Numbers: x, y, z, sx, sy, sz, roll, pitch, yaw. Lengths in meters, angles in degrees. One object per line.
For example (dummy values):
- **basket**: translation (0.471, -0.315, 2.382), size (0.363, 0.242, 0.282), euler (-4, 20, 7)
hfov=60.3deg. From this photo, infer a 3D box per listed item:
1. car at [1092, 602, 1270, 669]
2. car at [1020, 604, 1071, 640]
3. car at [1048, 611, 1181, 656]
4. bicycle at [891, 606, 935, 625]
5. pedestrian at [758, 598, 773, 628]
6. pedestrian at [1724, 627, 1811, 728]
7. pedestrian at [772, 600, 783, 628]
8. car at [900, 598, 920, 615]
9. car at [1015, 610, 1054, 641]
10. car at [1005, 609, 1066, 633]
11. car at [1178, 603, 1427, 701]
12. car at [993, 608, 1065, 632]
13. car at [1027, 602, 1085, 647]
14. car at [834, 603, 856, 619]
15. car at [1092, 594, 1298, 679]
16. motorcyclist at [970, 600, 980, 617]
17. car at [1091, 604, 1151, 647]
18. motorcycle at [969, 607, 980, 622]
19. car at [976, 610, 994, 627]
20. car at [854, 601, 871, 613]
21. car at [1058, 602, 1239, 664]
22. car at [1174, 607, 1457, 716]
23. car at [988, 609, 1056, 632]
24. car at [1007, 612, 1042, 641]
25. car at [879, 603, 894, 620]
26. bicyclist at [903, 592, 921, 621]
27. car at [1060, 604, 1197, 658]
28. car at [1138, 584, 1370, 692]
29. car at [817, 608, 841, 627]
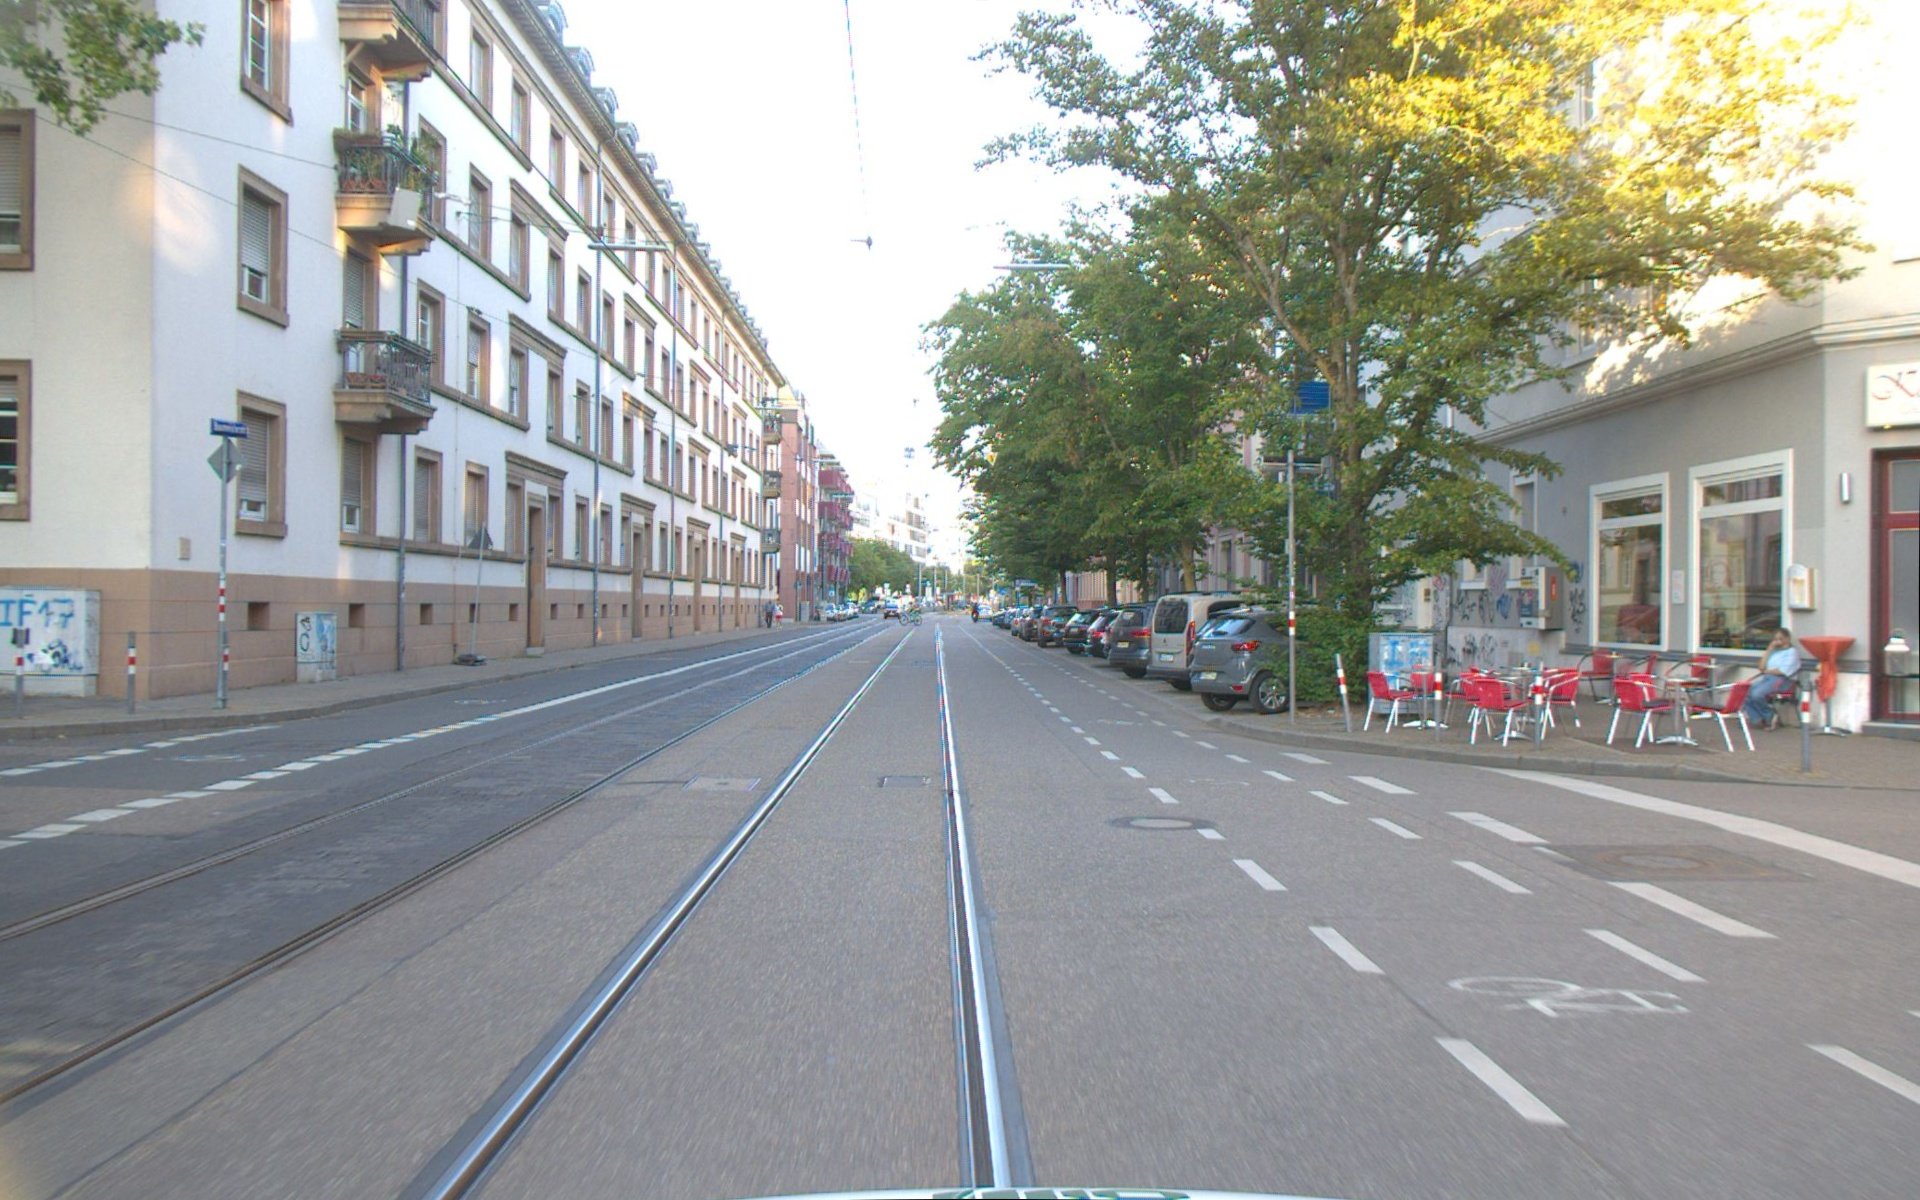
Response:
- **car**: translation (5.342, 0.829, 40.016), size (3.926, 1.489, 1.711), euler (-1, 0, -19)
- **car**: translation (3.728, 0.957, 73.147), size (1.953, 1.515, 5.035), euler (0, 0, 0)
- **car**: translation (5.103, 1.095, 54.519), size (4.198, 1.412, 1.607), euler (1, 0, -27)
- **bicycle**: translation (-3.387, 1.122, 119.529), size (3.112, 1.378, 0.955), euler (0, -1, -10)
- **pedestrian**: translation (-11.214, 0.748, 95.404), size (0.779, 1.731, 0.981), euler (0, -1, -3)
- **pedestrian**: translation (9.662, 0.919, 19.795), size (0.641, 1.175, 0.686), euler (1, -1, -25)
- **pedestrian**: translation (-10.525, 0.798, 95.246), size (0.579, 1.638, 0.811), euler (0, -1, -3)
- **car**: translation (-7.500, 0.990, 248.764), size (2.409, 2.526, 5.810), euler (0, 0, 3)
- **car**: translation (3.604, 1.233, 80.723), size (1.743, 1.405, 4.691), euler (-1, 0, 1)
- **car**: translation (4.741, 1.319, 103.801), size (3.512, 1.454, 1.655), euler (-1, 0, -26)
- **car**: translation (5.880, 0.865, 28.414), size (3.932, 1.594, 1.708), euler (1, 0, -23)
- **car**: translation (4.657, 1.336, 111.641), size (4.386, 1.543, 2.048), euler (-1, 0, -24)
- **car**: translation (3.668, 0.926, 64.000), size (1.841, 1.646, 4.261), euler (-2, 0, -1)
- **car**: translation (-11.149, 1.064, 160.328), size (1.656, 1.438, 4.677), euler (2, -1, 1)
- **car**: translation (5.149, 0.762, 36.253), size (4.120, 1.726, 1.835), euler (-1, 0, -22)
- **motorcyclist**: translation (1.320, 0.726, 147.140), size (0.811, 1.499, 1.207), euler (0, 0, 2)
- **car**: translation (6.221, 0.953, 64.153), size (1.841, 1.612, 4.019), euler (0, 0, -1)
- **motorcycle**: translation (1.307, 1.287, 147.174), size (0.811, 1.262, 2.492), euler (0, 0, 3)
- **car**: translation (2.427, 1.747, 161.079), size (1.681, 1.583, 4.204), euler (1, 0, 1)
- **car**: translation (-14.328, 0.974, 242.272), size (1.647, 1.729, 4.242), euler (0, 0, 8)
- **car**: translation (4.843, 0.812, 42.494), size (4.310, 1.489, 1.711), euler (-1, 0, -19)
- **car**: translation (5.436, 0.903, 25.307), size (3.929, 1.567, 1.769), euler (1, 0, -21)
- **car**: translation (4.396, 1.429, 117.598), size (4.547, 1.482, 1.697), euler (-1, 0, -26)
- **car**: translation (3.349, 1.371, 86.277), size (1.586, 1.405, 3.775), euler (-1, 0, -1)
- **car**: translation (-7.312, 1.124, 164.857), size (1.528, 1.585, 3.753), euler (-1, 0, -3)
- **bicyclist**: translation (-3.472, 0.472, 119.517), size (1.192, 2.049, 0.945), euler (-1, 0, -9)
- **car**: translation (5.228, 0.938, 51.395), size (3.901, 1.580, 1.711), euler (-1, 1, -19)
- **car**: translation (5.492, 0.669, 30.961), size (3.932, 1.847, 1.812), euler (-1, 0, -23)
- **car**: translation (-11.124, 1.478, 140.360), size (1.682, 1.583, 4.203), euler (2, 0, 0)
